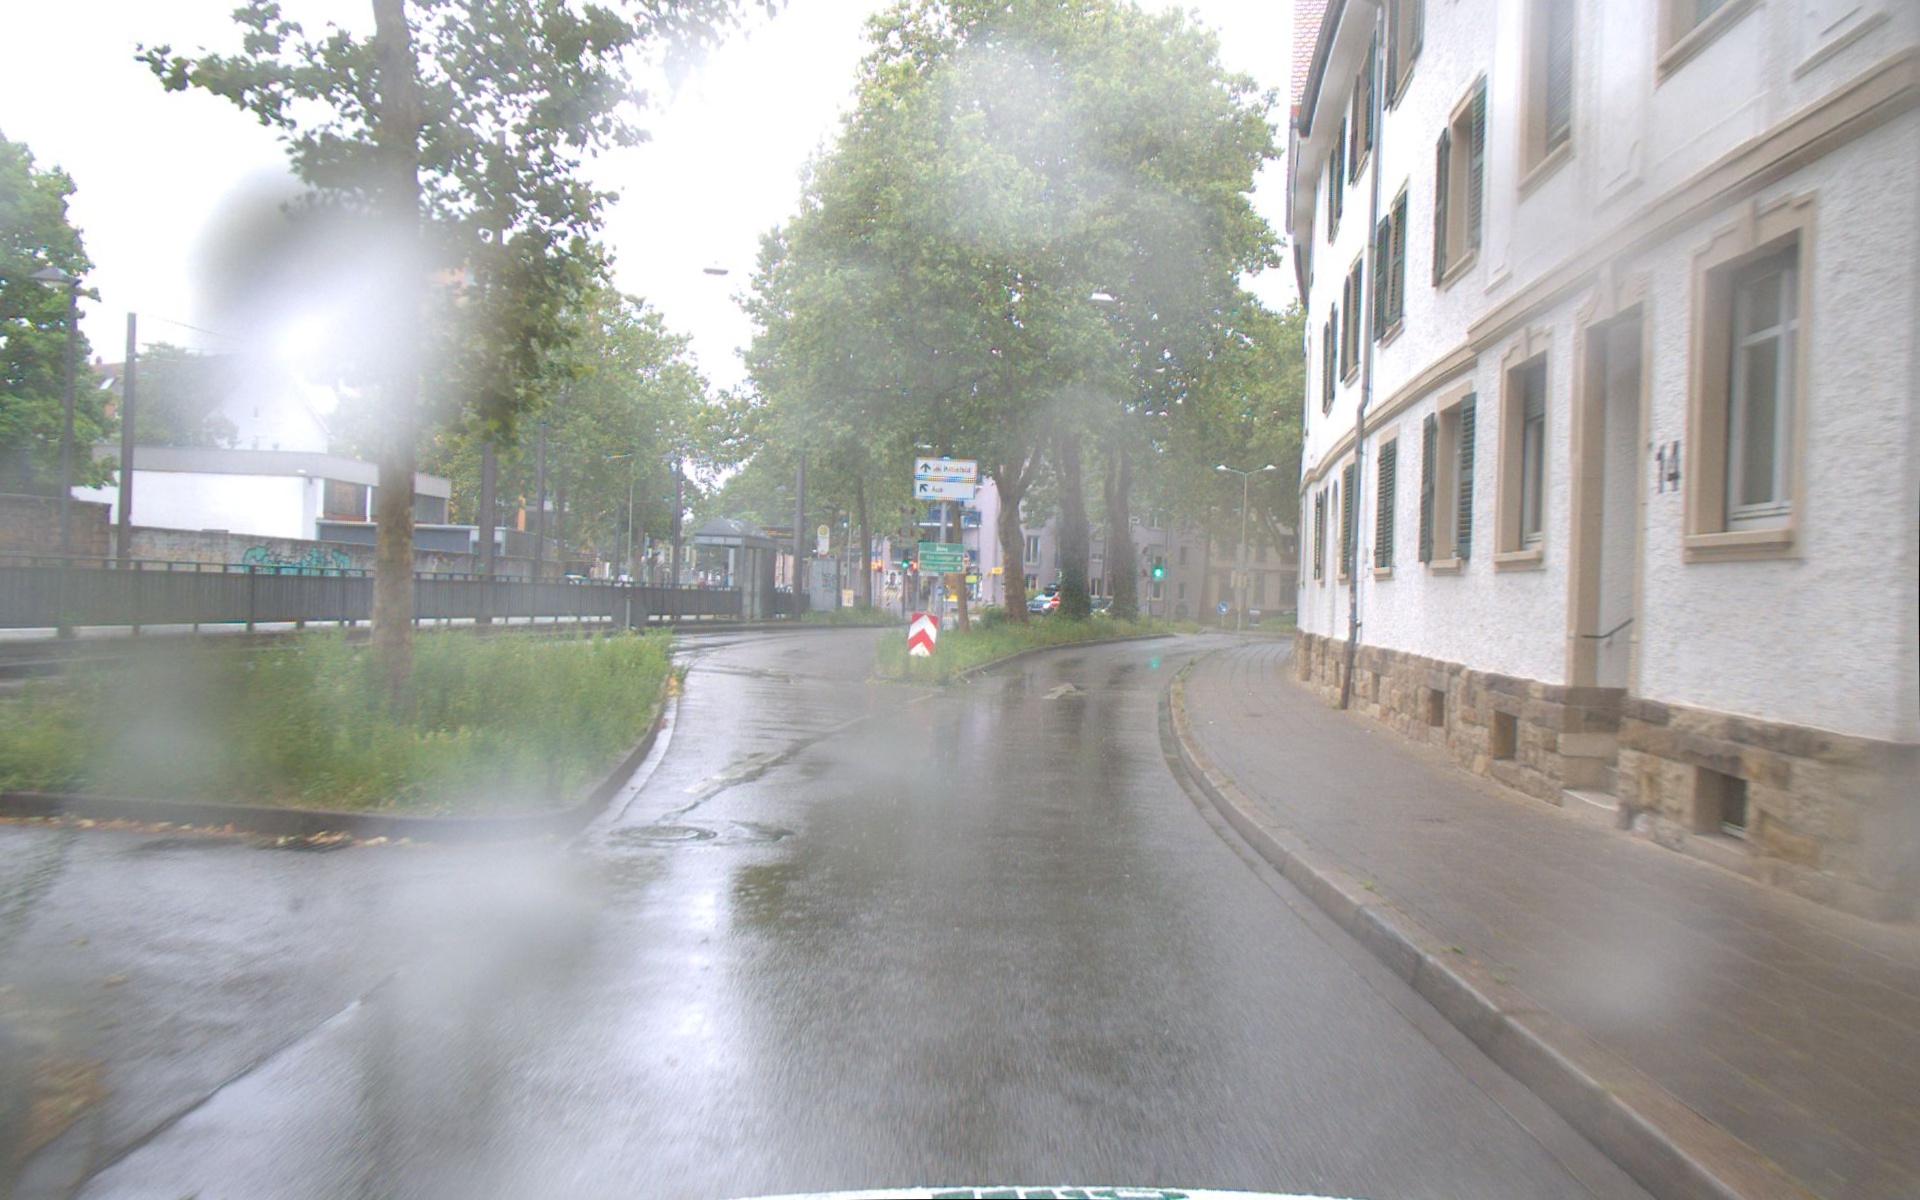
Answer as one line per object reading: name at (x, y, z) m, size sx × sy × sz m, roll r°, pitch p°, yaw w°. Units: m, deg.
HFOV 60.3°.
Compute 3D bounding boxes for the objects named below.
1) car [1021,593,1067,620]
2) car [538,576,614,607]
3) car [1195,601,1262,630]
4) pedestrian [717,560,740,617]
car at (5.242, 0.421, 102.856) m, size 1.690 × 1.579 × 3.558 m, roll 1°, pitch 0°, yaw 23°
car at (-21.976, -0.496, 94.553) m, size 3.931 × 1.680 × 1.969 m, roll 1°, pitch 0°, yaw 30°
car at (15.171, 0.879, 93.508) m, size 3.411 × 1.550 × 1.518 m, roll 1°, pitch 0°, yaw 26°
pedestrian at (-7.296, -0.358, 52.104) m, size 0.573 × 1.761 × 0.564 m, roll 1°, pitch -1°, yaw -25°
